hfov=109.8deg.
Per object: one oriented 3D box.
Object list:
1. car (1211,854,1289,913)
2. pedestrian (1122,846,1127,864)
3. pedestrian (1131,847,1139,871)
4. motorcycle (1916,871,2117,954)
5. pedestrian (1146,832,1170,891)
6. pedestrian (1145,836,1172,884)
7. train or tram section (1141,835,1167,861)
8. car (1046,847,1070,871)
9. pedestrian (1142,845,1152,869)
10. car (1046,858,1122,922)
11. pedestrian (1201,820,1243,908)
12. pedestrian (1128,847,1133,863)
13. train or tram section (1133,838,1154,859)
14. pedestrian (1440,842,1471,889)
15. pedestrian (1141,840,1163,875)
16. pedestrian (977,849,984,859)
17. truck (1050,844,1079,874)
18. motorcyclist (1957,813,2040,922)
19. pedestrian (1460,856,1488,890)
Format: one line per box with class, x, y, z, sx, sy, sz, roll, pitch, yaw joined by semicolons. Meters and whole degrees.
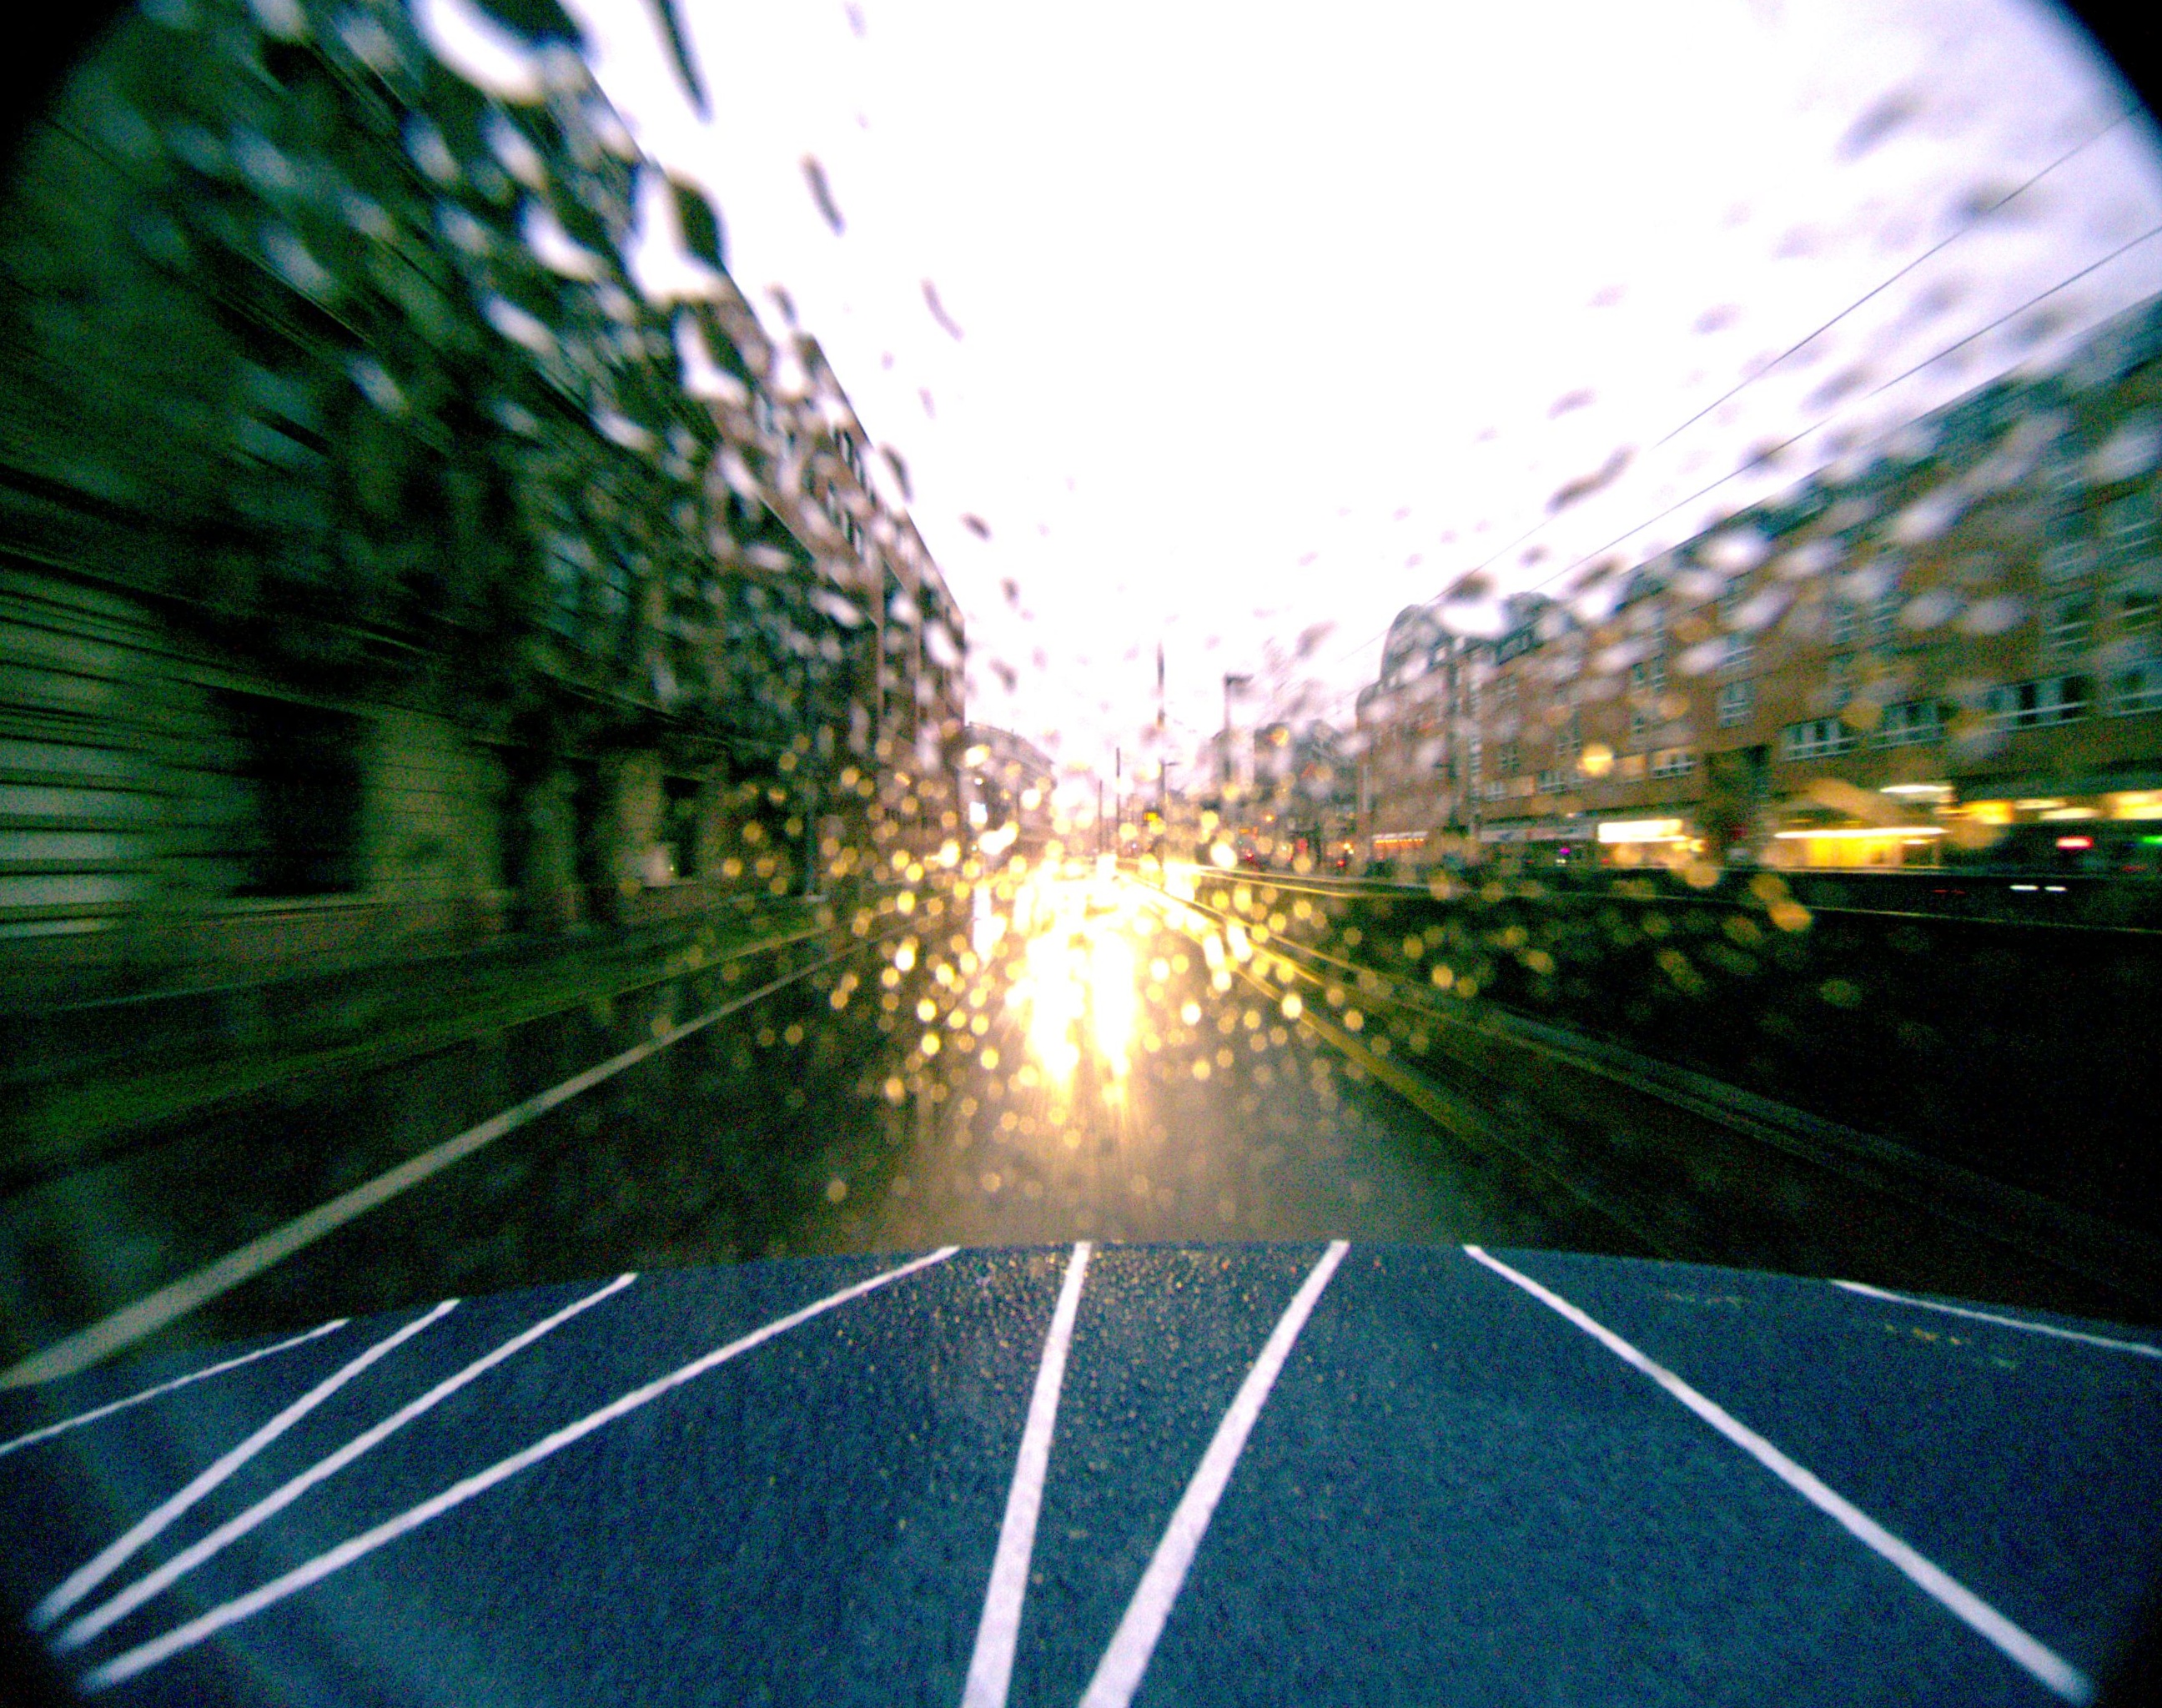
car;4.533;0.748;20.761;1.435;1.434;3.136;-2;0;1
pedestrian;4.890;0.120;85.553;0.434;1.956;0.473;-1;1;-5
pedestrian;3.746;0.323;52.462;0.482;1.669;0.563;-1;1;-2
motorcycle;12.953;0.765;10.620;0.514;1.002;1.806;-2;1;-3
pedestrian;2.792;0.255;27.583;0.811;2.098;0.804;-1;1;1
pedestrian;3.210;0.239;31.415;0.802;1.936;0.814;0;1;40
train or tram section;10.951;-0.880;114.475;2.907;3.547;11.034;-2;0;1
car;-2.067;0.425;68.940;1.998;2.002;4.000;-2;0;1
pedestrian;4.504;0.207;51.895;0.620;1.581;0.622;-1;1;-2
car;0.064;0.881;20.227;1.774;1.449;4.221;-2;0;0
pedestrian;3.429;0.235;18.535;0.812;2.098;0.804;-1;1;-2
pedestrian;5.721;0.143;87.700;0.413;1.835;0.669;-1;1;-5
train or tram section;11.179;-1.016;137.036;2.957;3.568;12.254;-2;0;1
pedestrian;12.437;0.388;25.271;0.636;1.515;0.756;-2;1;1
pedestrian;3.510;0.190;37.521;0.779;1.694;0.772;-1;1;-18
pedestrian;-18.213;0.066;137.574;1.152;1.777;0.777;0;1;-9
truck;-1.104;0.340;52.769;1.909;1.906;4.616;-2;0;0
motorcyclist;12.959;0.183;10.745;0.500;1.487;0.556;-2;1;-5
pedestrian;13.175;0.618;25.475;0.608;1.096;0.591;-2;1;1
